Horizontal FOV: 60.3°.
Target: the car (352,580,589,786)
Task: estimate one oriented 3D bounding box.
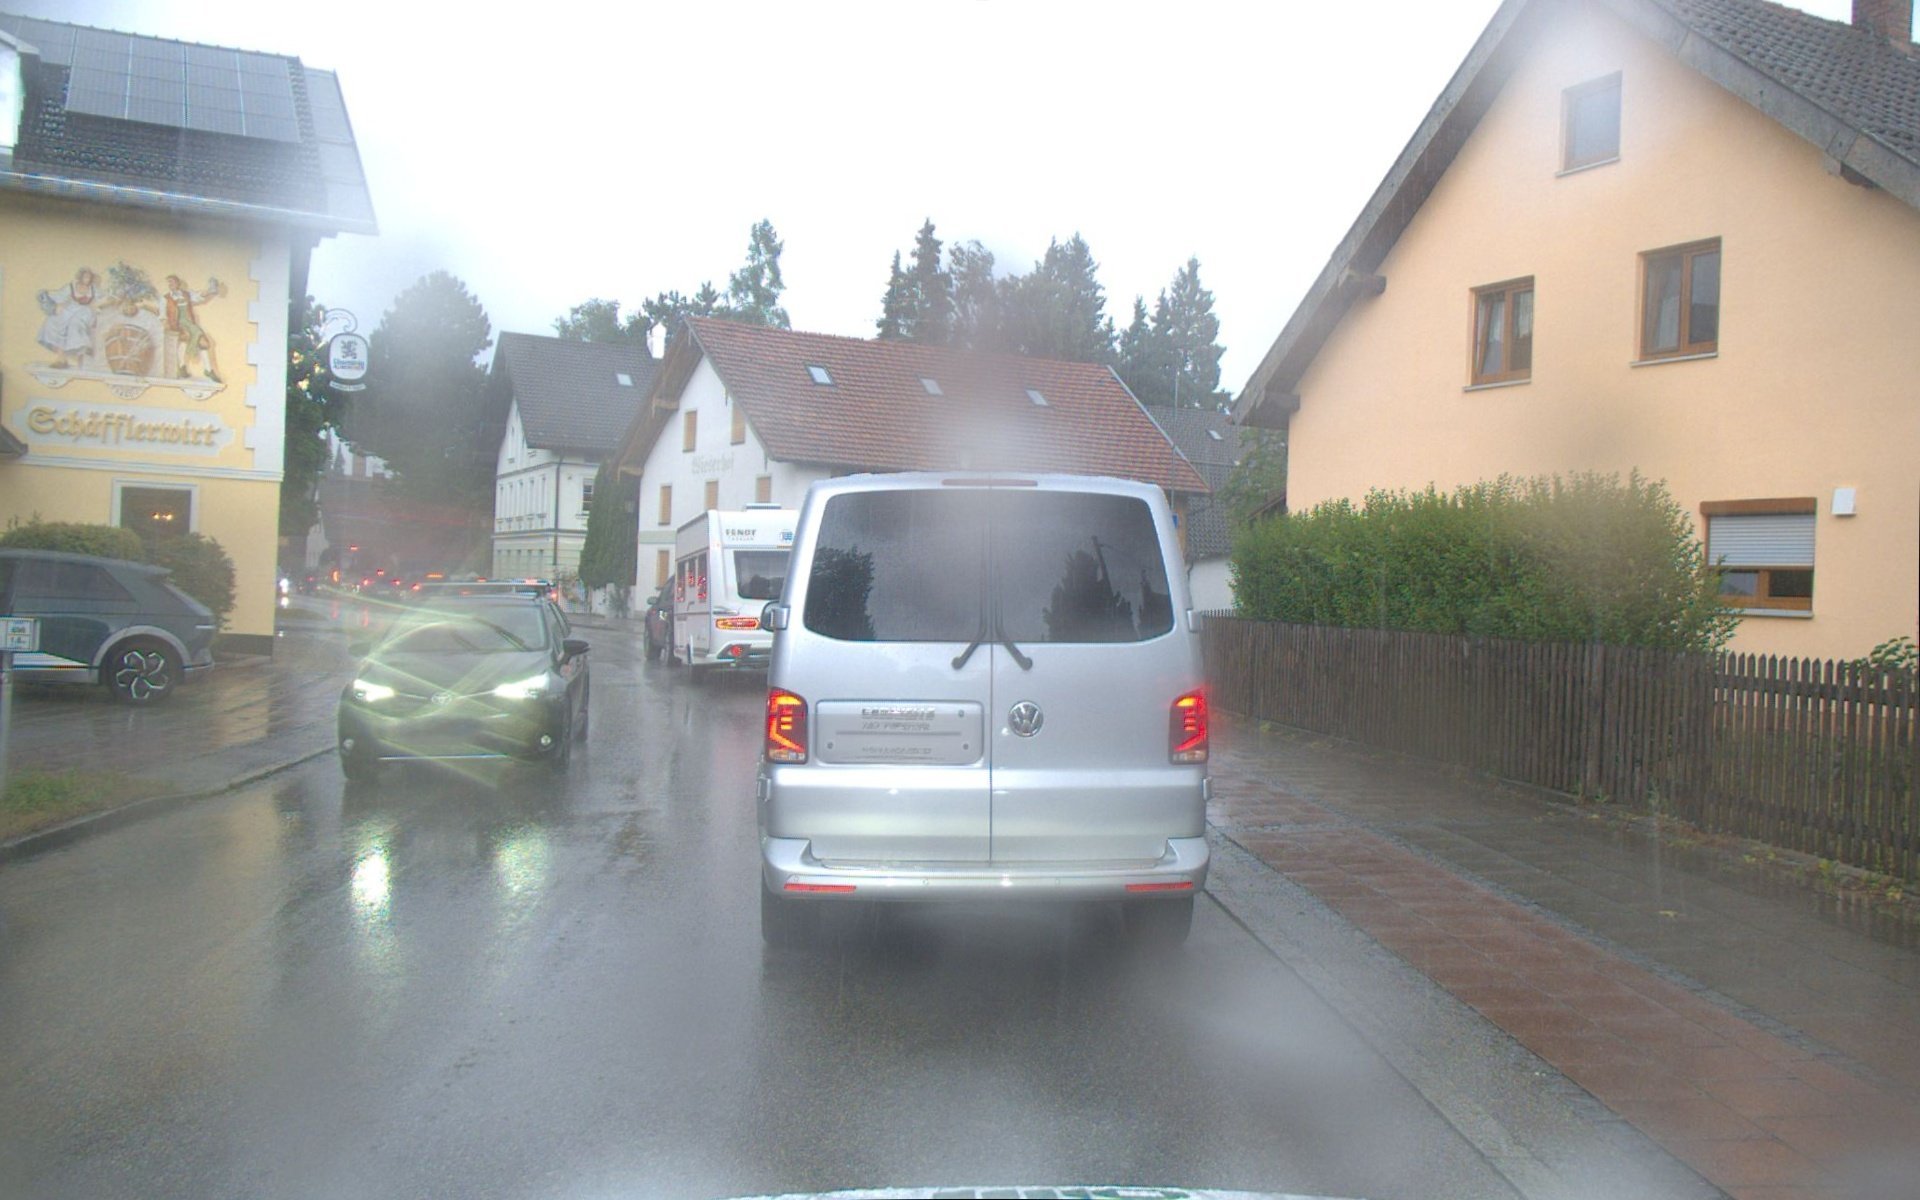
[{"bbox_3d":[-4.169,0.610,14.616,1.609,1.547,4.177,0,0,-11],"label":"car"}]

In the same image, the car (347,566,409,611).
[{"bbox_3d":[-27.740,-0.561,78.734,2.143,1.932,4.971,2,1,-27],"label":"car"}]

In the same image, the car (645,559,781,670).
[{"bbox_3d":[-4.790,0.245,31.465,2.019,1.932,5.155,1,0,-15],"label":"car"}]

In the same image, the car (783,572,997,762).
[{"bbox_3d":[-0.853,0.546,16.926,1.677,1.611,4.676,-1,1,-9],"label":"car"}]

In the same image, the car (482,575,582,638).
[{"bbox_3d":[-14.234,0.193,54.766,2.143,1.932,4.970,2,-1,-27],"label":"car"}]

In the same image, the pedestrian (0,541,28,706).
[{"bbox_3d":[-10.232,0.236,17.332,0.481,1.719,0.554,4,-1,-1],"label":"pedestrian"}]

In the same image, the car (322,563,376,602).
[{"bbox_3d":[-32.898,-0.972,88.941,2.143,1.932,4.971,2,1,-27],"label":"car"}]

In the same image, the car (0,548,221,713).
[{"bbox_3d":[-10.701,0.251,18.260,4.427,1.594,1.822,5,1,-30],"label":"car"}]

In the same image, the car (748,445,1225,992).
[{"bbox_3d":[0.080,0.427,8.598,1.740,1.997,5.073,0,0,-1],"label":"car"}]

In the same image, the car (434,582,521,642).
[{"bbox_3d":[-17.616,0.402,60.212,2.143,1.932,4.971,2,1,-27],"label":"car"}]

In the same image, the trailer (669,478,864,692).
[{"bbox_3d":[-3.201,-0.218,26.053,2.233,2.955,6.109,1,0,-14],"label":"trailer"}]

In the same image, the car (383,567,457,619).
[{"bbox_3d":[-22.428,-0.319,68.588,2.143,1.932,4.971,2,1,-27],"label":"car"}]

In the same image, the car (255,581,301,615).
[{"bbox_3d":[-36.181,-0.139,87.671,1.900,1.775,4.154,0,0,-28],"label":"car"}]

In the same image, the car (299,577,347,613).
[{"bbox_3d":[-37.978,-0.339,98.545,2.143,1.932,4.971,2,1,-27],"label":"car"}]
